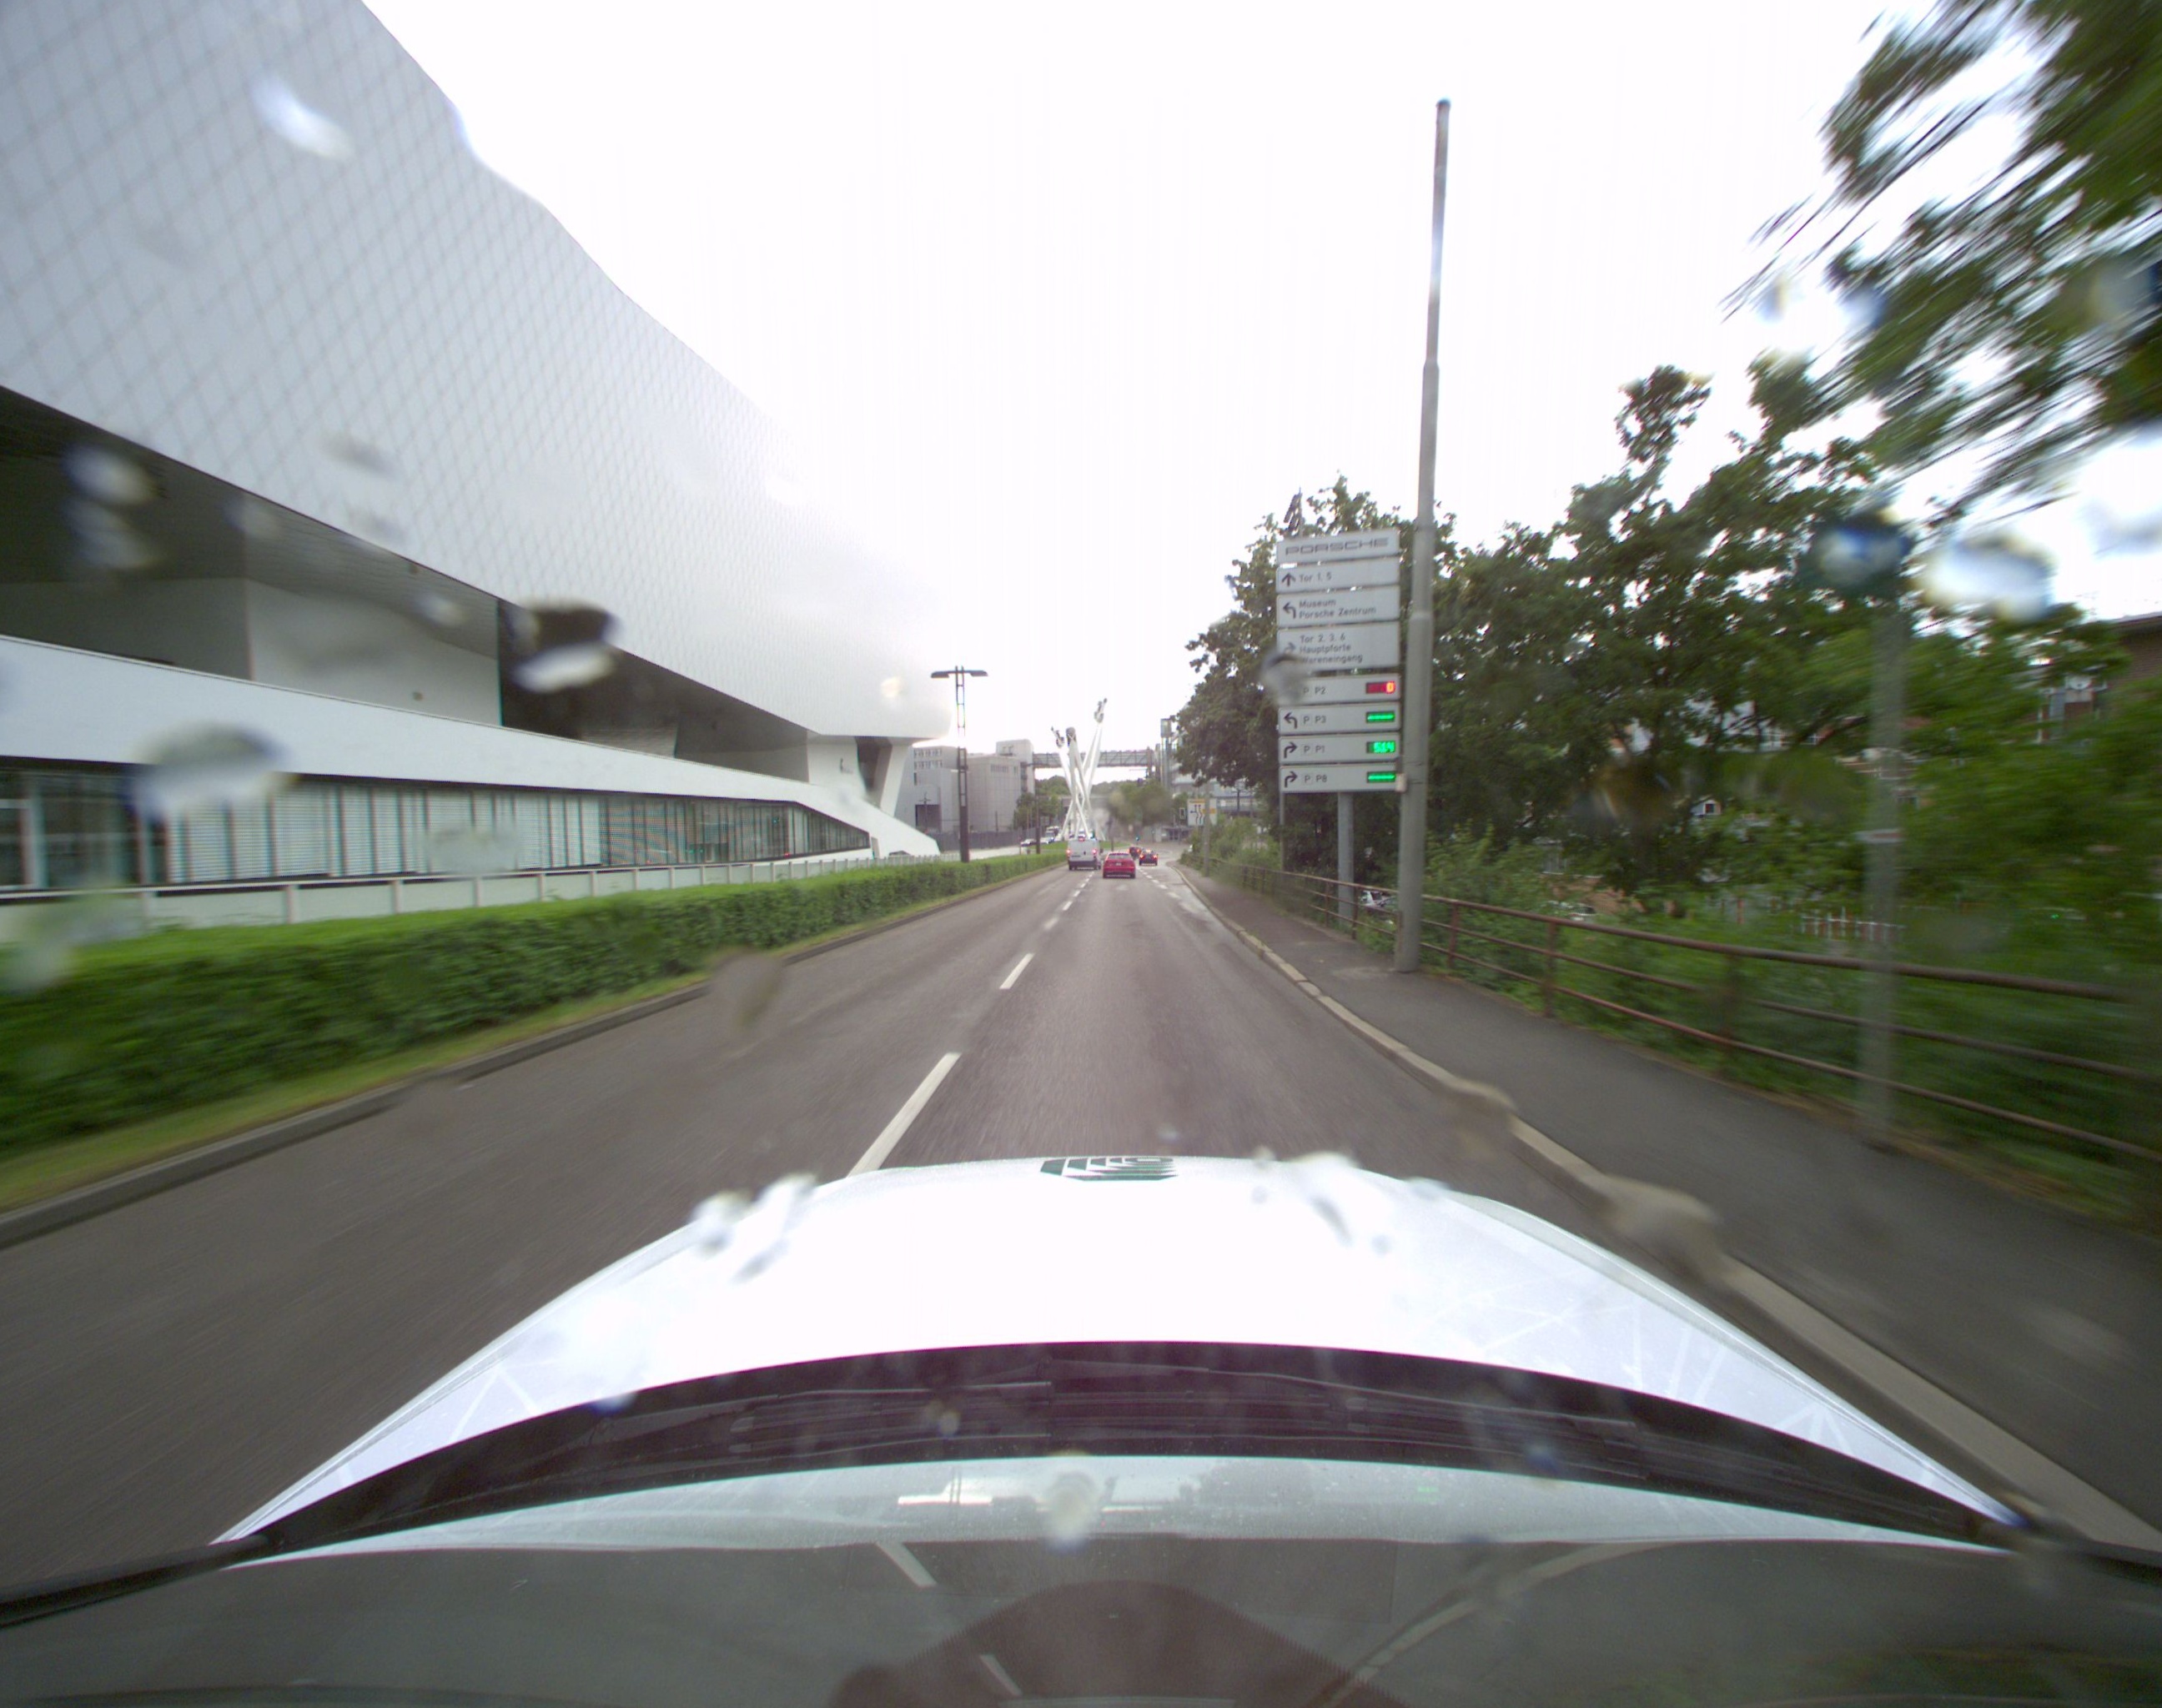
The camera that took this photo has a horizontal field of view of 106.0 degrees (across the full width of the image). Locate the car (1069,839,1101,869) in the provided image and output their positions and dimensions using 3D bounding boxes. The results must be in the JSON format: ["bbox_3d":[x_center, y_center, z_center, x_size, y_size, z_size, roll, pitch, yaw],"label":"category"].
[{"bbox_3d":[0.346,0.022,59.240,2.224,2.108,4.956,-1,0,1],"label":"car"}]

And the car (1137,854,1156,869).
[{"bbox_3d":[5.983,0.654,74.953,1.604,1.291,3.568,-1,0,2],"label":"car"}]

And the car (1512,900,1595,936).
[{"bbox_3d":[24.160,3.228,41.770,1.697,1.486,3.846,0,1,-8],"label":"car"}]

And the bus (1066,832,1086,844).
[{"bbox_3d":[-1.204,-4.391,221.606,2.650,3.200,12.715,0,1,13],"label":"bus"}]

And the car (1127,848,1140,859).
[{"bbox_3d":[6.719,-0.056,104.889,1.551,1.288,3.415,-1,0,2],"label":"car"}]

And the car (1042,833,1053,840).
[{"bbox_3d":[-7.582,-3.916,184.804,1.825,1.472,4.519,-1,1,4],"label":"car"}]

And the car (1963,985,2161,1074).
[{"bbox_3d":[20.289,3.522,16.602,3.400,1.397,1.510,1,1,-10],"label":"car"}]

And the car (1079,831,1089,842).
[{"bbox_3d":[0.703,-3.990,187.142,1.985,2.447,5.433,-1,1,4],"label":"car"}]

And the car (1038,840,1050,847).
[{"bbox_3d":[-7.489,-2.197,164.809,1.836,1.338,4.007,-1,1,5],"label":"car"}]

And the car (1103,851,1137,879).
[{"bbox_3d":[2.108,0.573,44.189,1.766,1.464,3.734,-1,0,2],"label":"car"}]

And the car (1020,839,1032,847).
[{"bbox_3d":[-11.155,-2.243,164.911,1.825,1.472,4.519,-1,1,4],"label":"car"}]

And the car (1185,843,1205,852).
[{"bbox_3d":[16.364,-0.935,116.370,1.652,1.301,3.909,-1,0,27],"label":"car"}]
